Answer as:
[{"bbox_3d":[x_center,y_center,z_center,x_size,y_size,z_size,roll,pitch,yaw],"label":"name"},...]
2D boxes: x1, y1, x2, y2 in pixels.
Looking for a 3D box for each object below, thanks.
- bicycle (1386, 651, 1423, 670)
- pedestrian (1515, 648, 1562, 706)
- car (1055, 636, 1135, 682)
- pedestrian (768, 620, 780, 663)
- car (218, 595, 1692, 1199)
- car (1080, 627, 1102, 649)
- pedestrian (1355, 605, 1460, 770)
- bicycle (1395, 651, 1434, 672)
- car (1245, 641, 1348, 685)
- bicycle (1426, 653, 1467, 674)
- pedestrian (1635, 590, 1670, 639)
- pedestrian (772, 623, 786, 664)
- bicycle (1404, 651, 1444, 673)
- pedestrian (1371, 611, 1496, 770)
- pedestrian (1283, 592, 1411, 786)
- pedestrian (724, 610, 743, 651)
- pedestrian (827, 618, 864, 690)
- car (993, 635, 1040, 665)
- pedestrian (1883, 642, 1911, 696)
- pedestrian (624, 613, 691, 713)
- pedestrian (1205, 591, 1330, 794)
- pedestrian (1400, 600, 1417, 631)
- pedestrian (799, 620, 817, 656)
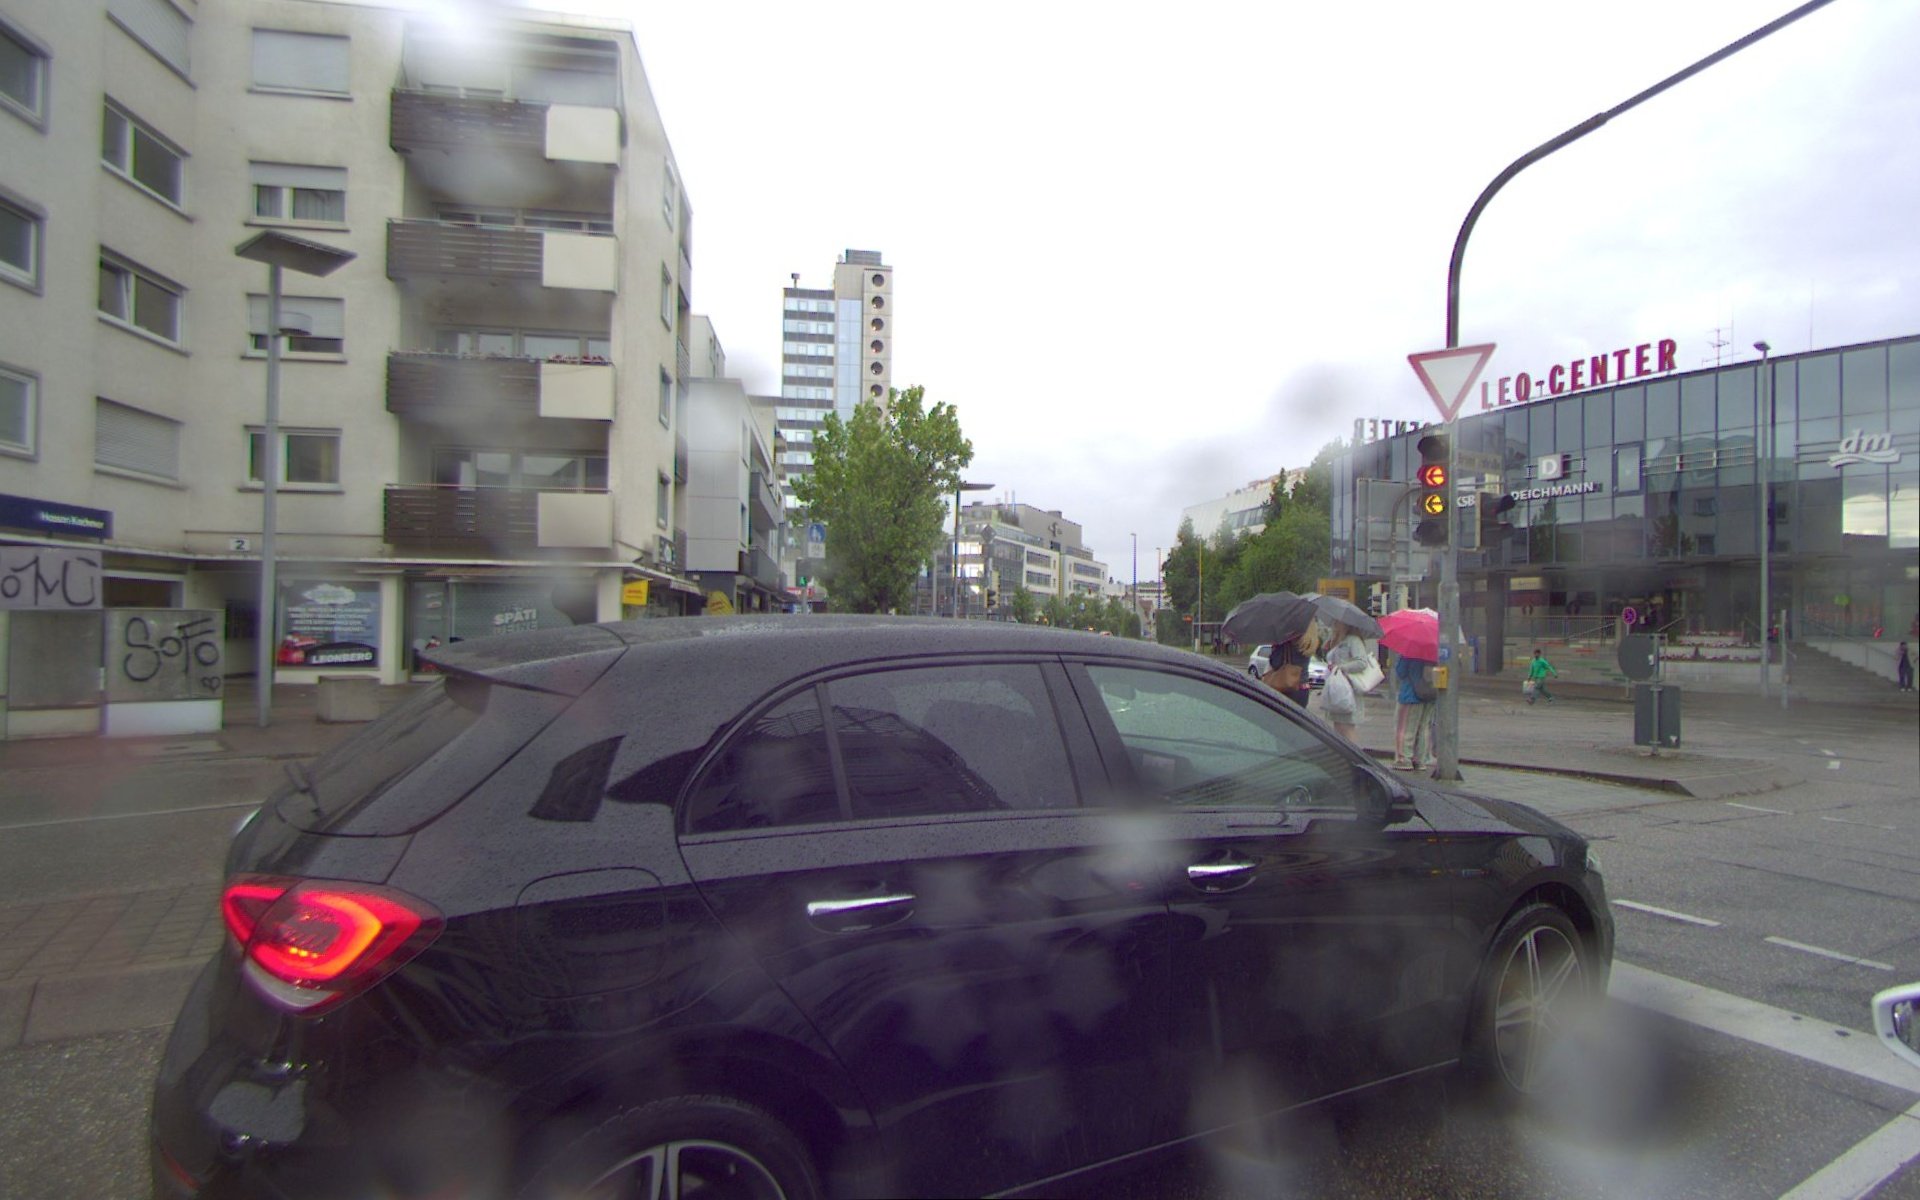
[{"bbox_3d":[23.699,3.221,53.547,1.821,0.964,0.535,-1,0,-8],"label":"bicycle"},{"bbox_3d":[17.026,2.259,29.572,0.794,1.644,0.951,1,-2,-7],"label":"pedestrian"},{"bbox_3d":[4.709,2.063,35.773,2.082,1.432,5.147,2,-2,0],"label":"car"},{"bbox_3d":[-7.596,1.703,40.963,0.441,1.746,0.499,1,-2,-12],"label":"pedestrian"},{"bbox_3d":[0.343,0.777,3.068,4.048,1.501,1.654,1,1,-32],"label":"car"},{"bbox_3d":[12.491,3.635,96.194,2.008,1.921,4.141,1,-1,6],"label":"car"},{"bbox_3d":[4.807,0.931,10.813,0.792,1.707,0.673,1,-2,-8],"label":"pedestrian"},{"bbox_3d":[23.929,3.232,52.882,1.822,1.047,0.628,-1,-1,-12],"label":"bicycle"},{"bbox_3d":[12.389,2.307,37.282,1.717,1.460,3.980,2,-1,-15],"label":"car"},{"bbox_3d":[24.482,3.190,50.515,1.822,1.036,0.631,0,-2,-12],"label":"bicycle"},{"bbox_3d":[30.041,0.623,43.579,0.938,2.040,0.828,2,0,-22],"label":"pedestrian"},{"bbox_3d":[-8.146,1.965,45.182,0.557,1.817,0.491,1,-2,-4],"label":"pedestrian"},{"bbox_3d":[24.082,3.227,52.139,1.822,1.056,0.646,-1,-2,-12],"label":"bicycle"},{"bbox_3d":[5.369,0.993,11.412,0.906,1.699,0.931,2,-2,-30],"label":"pedestrian"},{"bbox_3d":[3.751,0.839,9.827,0.843,1.767,1.139,1,-2,3],"label":"pedestrian"},{"bbox_3d":[-11.556,1.556,51.233,0.859,2.040,0.923,1,-1,-10],"label":"pedestrian"},{"bbox_3d":[-2.712,1.270,23.798,0.799,1.677,0.714,1,-2,-3],"label":"pedestrian"},{"bbox_3d":[2.751,2.435,49.554,1.414,1.314,3.770,2,-1,-11],"label":"car"},{"bbox_3d":[34.288,2.506,36.751,0.589,1.933,0.651,2,-1,-37],"label":"pedestrian"},{"bbox_3d":[-5.025,1.036,16.683,0.904,1.606,0.651,2,-2,-33],"label":"pedestrian"},{"bbox_3d":[2.873,0.825,9.349,0.937,1.759,0.835,0,-2,31],"label":"pedestrian"},{"bbox_3d":[25.536,0.883,57.187,0.642,1.736,0.599,2,0,-6],"label":"pedestrian"},{"bbox_3d":[-7.874,1.946,51.968,0.859,1.835,0.923,1,-1,-10],"label":"pedestrian"}]
